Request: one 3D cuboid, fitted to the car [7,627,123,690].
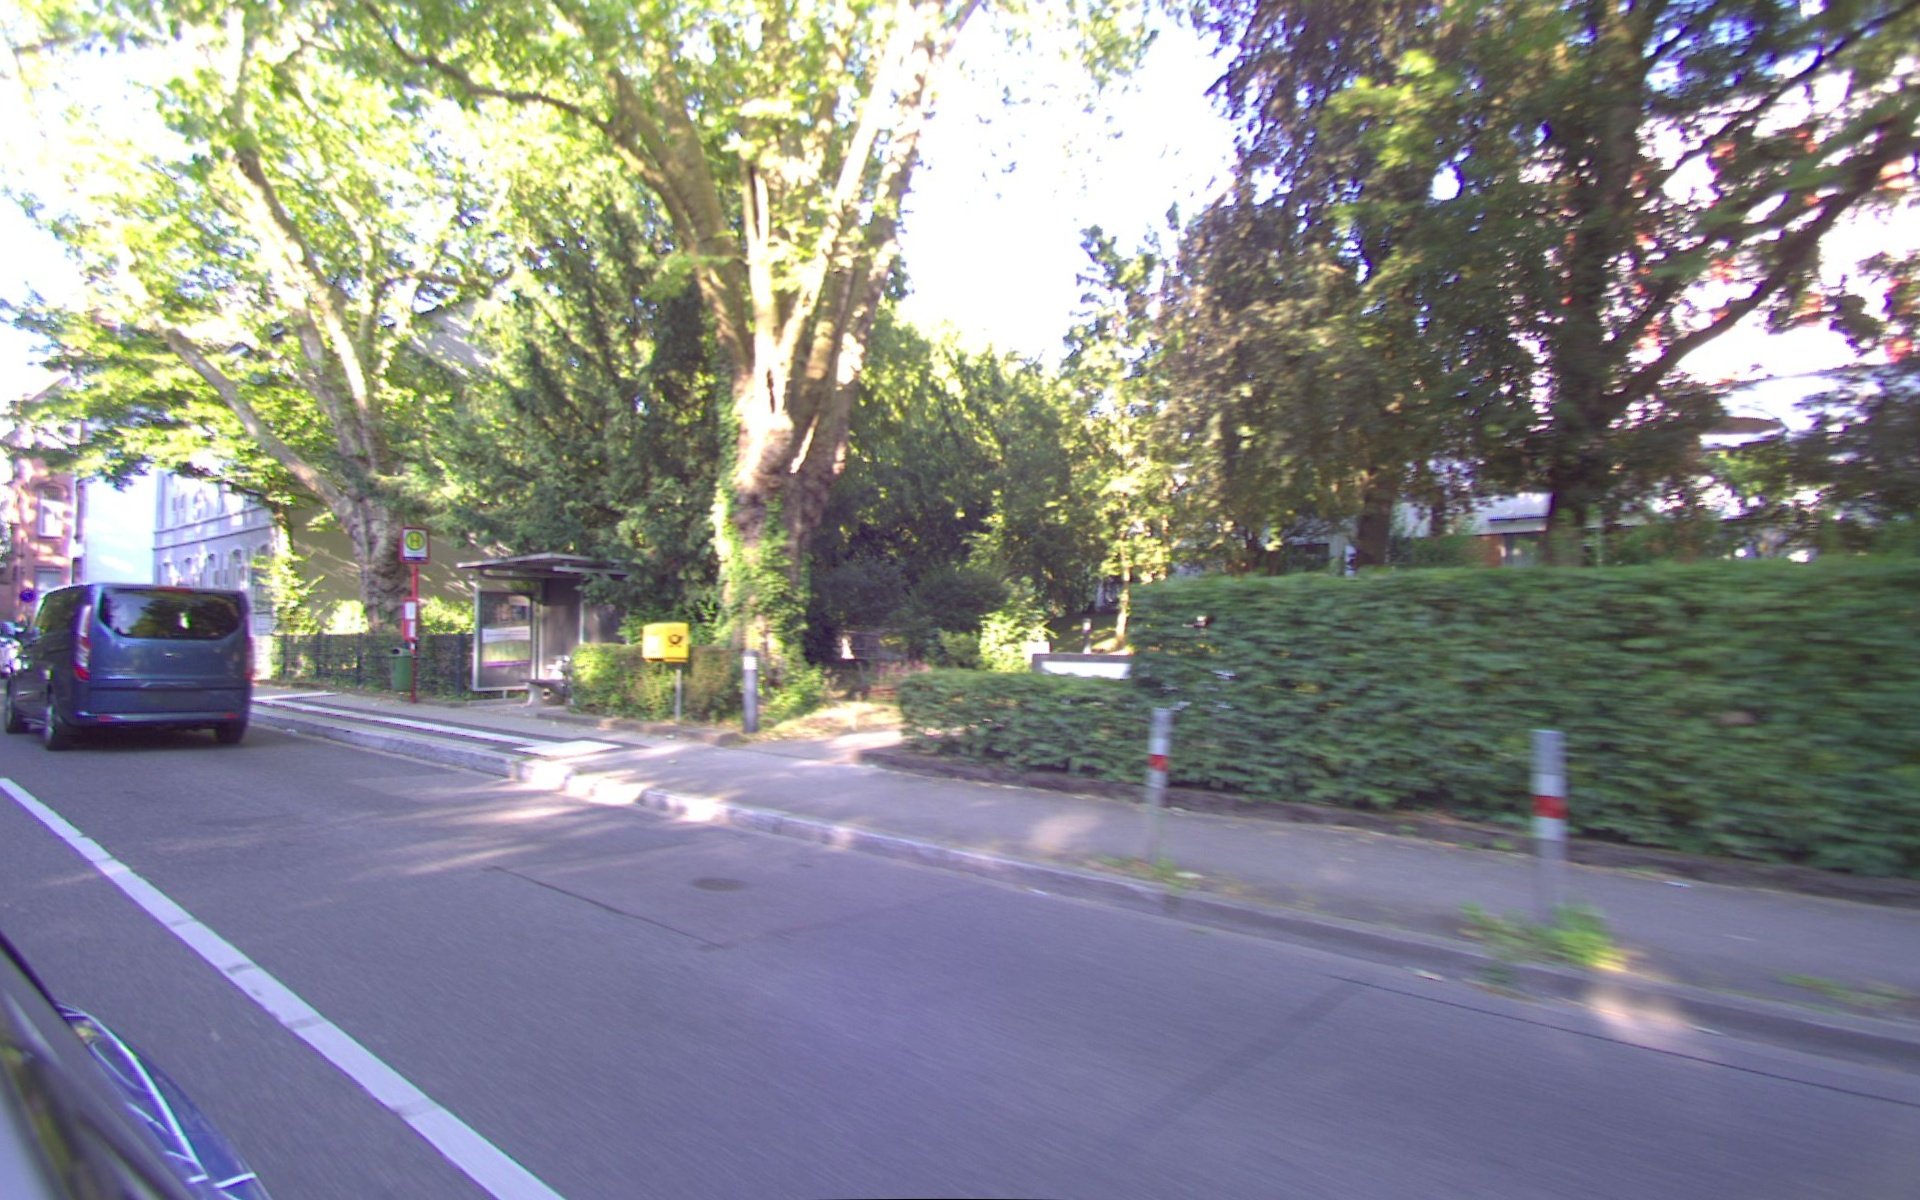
[{"bbox_3d":[-23.177,1.471,26.171,3.612,1.445,1.669,-2,1,40],"label":"car"}]

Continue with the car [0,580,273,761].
[{"bbox_3d":[-11.091,0.877,13.357,4.772,1.983,1.974,-2,-4,39],"label":"car"}]

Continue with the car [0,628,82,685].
[{"bbox_3d":[-27.002,1.609,29.481,3.319,1.558,1.607,-2,-3,40],"label":"car"}]

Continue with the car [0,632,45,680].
[{"bbox_3d":[-30.981,1.783,32.675,3.556,1.445,1.607,-2,0,40],"label":"car"}]
